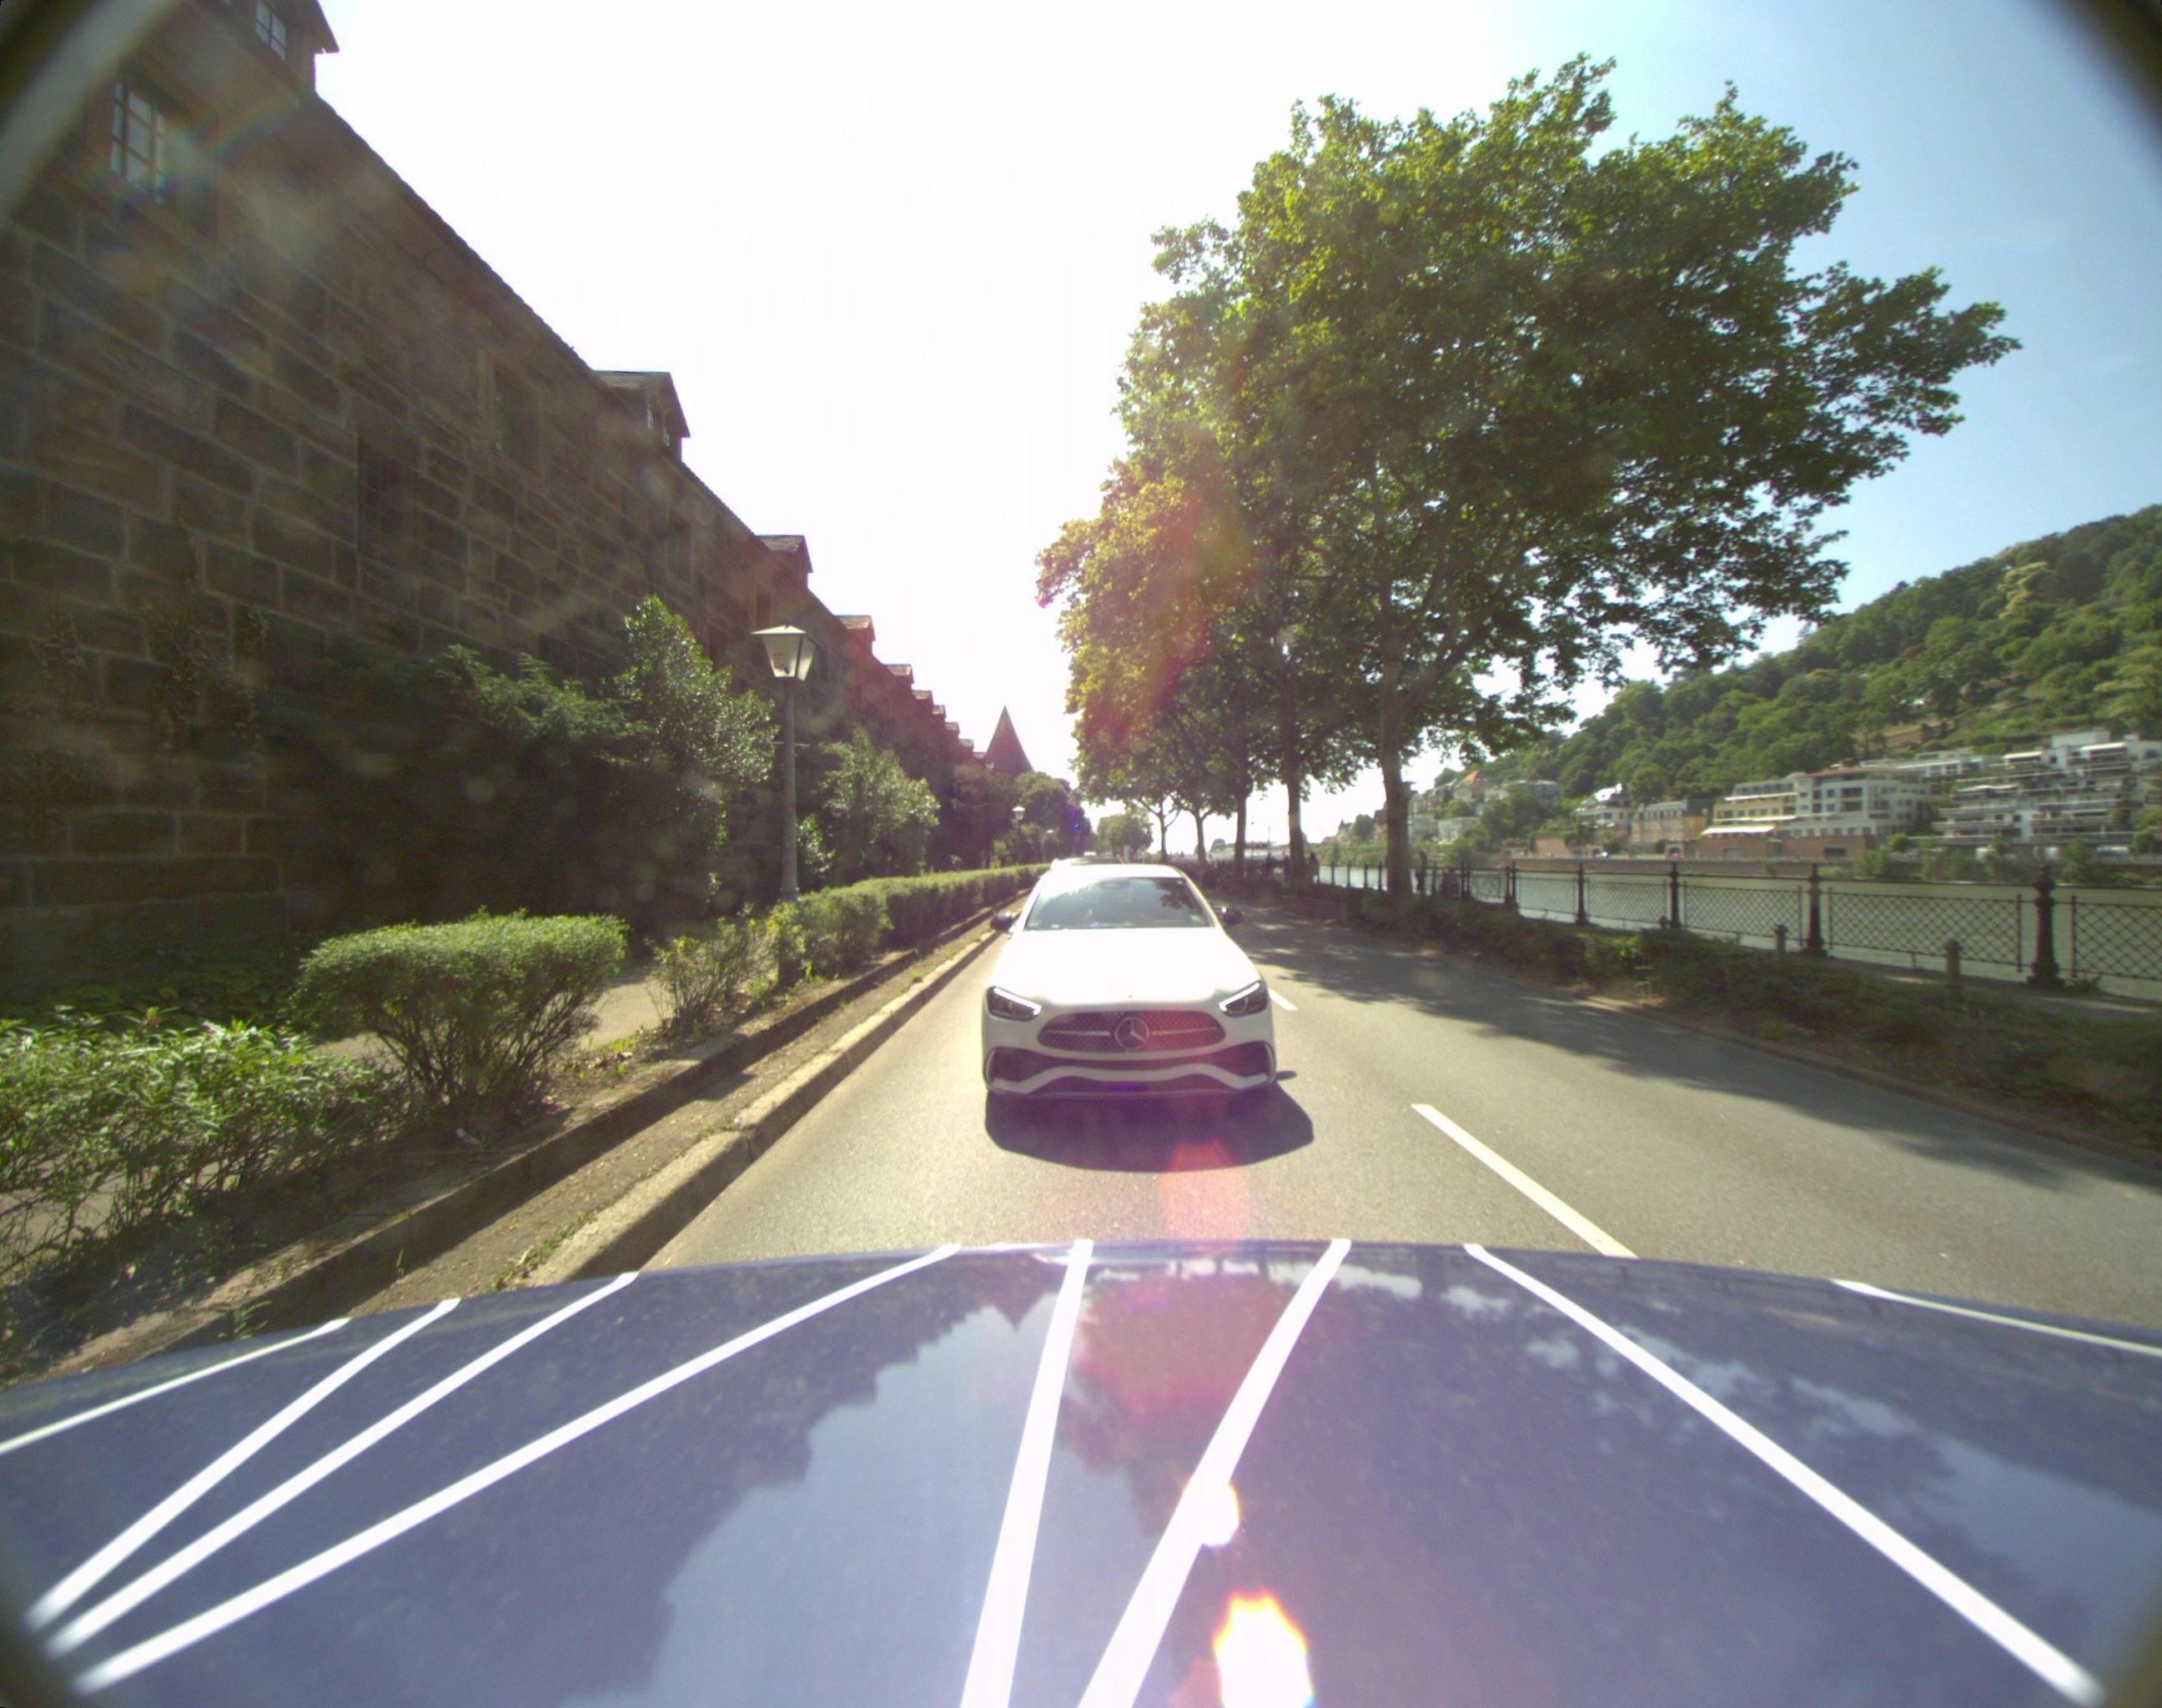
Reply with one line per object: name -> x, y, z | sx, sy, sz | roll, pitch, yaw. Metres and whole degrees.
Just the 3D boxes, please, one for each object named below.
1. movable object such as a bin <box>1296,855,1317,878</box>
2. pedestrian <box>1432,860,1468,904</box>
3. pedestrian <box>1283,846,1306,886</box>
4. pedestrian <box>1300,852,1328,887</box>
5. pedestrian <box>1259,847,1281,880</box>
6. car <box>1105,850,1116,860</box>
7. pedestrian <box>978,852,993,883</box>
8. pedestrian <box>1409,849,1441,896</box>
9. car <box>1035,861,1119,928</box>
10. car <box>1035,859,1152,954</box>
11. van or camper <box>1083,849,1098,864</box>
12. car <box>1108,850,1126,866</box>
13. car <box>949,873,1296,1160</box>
movable object such as a bin -> 10.942, 0.599, 36.880 | 0.704, 1.043, 0.783 | -2, 1, -3
pedestrian -> 12.030, 0.905, 24.782 | 0.768, 1.379, 0.770 | 1, 0, 0
pedestrian -> 10.229, 0.572, 36.392 | 0.806, 1.839, 0.929 | -2, 1, 1
pedestrian -> 11.015, 0.717, 35.952 | 0.898, 1.625, 1.058 | -2, 1, -3
pedestrian -> 11.945, 0.599, 48.012 | 1.047, 2.002, 1.036 | -1, 1, 31
car -> 6.084, 0.130, 159.513 | 2.165, 2.002, 4.000 | -2, 1, 1
pedestrian -> -4.848, 0.668, 38.559 | 0.643, 1.555, 0.563 | -2, 1, 1
pedestrian -> 12.940, 0.679, 28.580 | 0.777, 1.748, 0.830 | 1, 1, 0
car -> -0.064, 0.933, 19.204 | 1.833, 1.395, 4.424 | -2, 0, 1
car -> 0.227, 0.865, 14.387 | 1.833, 1.428, 4.270 | -2, 0, 1
van or camper -> 1.431, 0.402, 122.326 | 2.313, 2.358, 5.035 | 1, 0, 0
car -> 4.675, 0.468, 100.029 | 2.165, 2.002, 4.000 | -2, 1, 1
car -> 0.253, 0.934, 6.250 | 1.833, 1.395, 4.270 | -2, 0, 1
